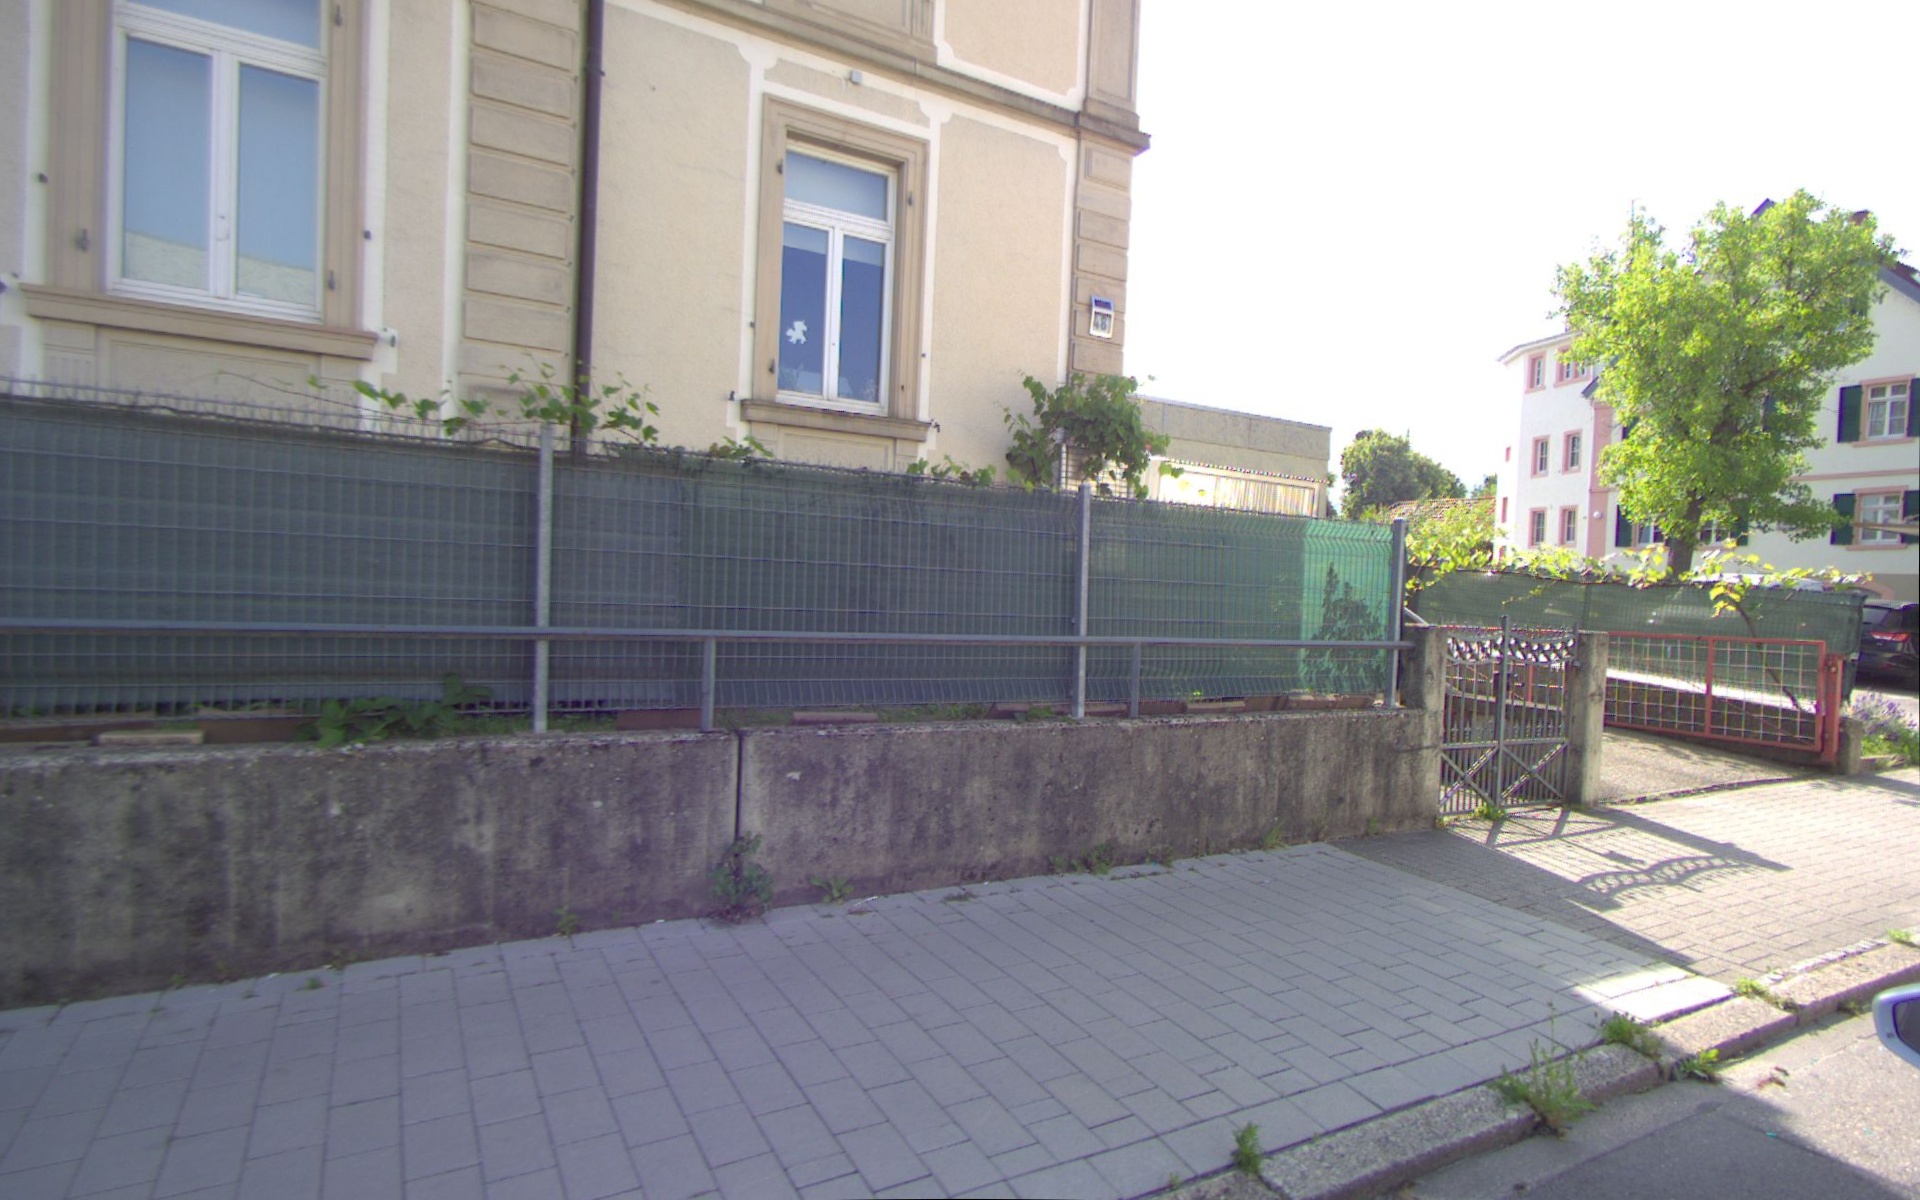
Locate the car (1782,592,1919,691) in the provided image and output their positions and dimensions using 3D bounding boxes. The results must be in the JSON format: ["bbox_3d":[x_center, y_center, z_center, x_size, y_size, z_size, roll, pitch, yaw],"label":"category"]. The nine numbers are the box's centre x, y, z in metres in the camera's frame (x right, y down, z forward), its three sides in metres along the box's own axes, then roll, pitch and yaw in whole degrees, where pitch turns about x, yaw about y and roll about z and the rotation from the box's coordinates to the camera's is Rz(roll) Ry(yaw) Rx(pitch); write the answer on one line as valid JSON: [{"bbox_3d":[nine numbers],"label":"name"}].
[{"bbox_3d":[16.690,0.694,17.927,4.342,1.482,1.607,1,4,-30],"label":"car"}]

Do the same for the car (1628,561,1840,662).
[{"bbox_3d":[16.106,0.245,20.850,4.629,1.796,1.813,1,5,-32],"label":"car"}]
